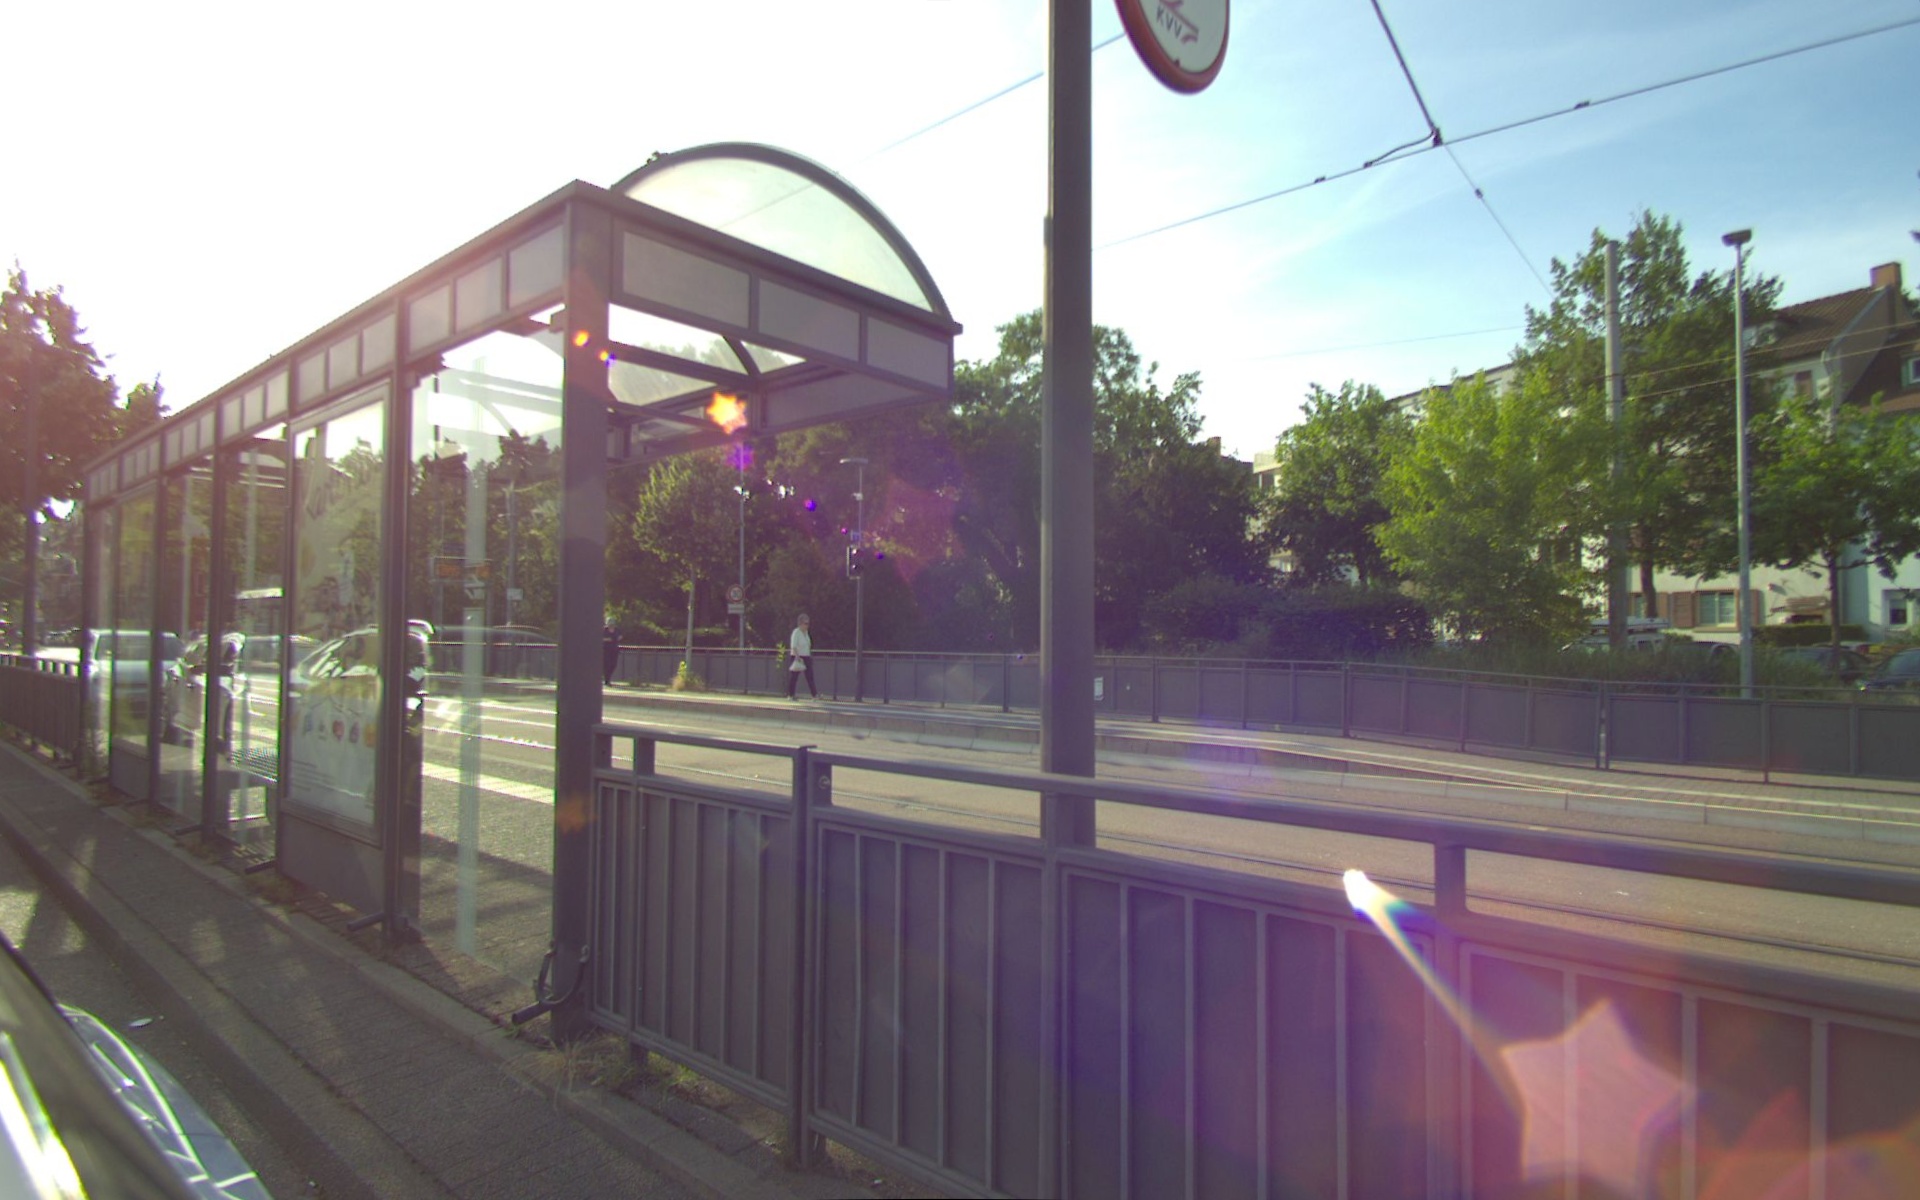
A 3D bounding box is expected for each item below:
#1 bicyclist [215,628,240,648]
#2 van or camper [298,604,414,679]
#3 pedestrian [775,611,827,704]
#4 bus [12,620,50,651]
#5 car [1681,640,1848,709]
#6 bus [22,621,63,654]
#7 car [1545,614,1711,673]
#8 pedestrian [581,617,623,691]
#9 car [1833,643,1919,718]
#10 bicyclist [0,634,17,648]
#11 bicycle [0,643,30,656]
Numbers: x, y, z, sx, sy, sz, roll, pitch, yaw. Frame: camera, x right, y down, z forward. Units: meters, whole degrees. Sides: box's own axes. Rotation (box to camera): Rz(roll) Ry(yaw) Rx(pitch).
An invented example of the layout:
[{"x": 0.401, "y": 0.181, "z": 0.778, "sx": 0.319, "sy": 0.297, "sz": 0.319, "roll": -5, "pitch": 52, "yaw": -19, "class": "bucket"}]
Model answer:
[{"x": -57.099, "y": 2.964, "z": 78.880, "sx": 0.887, "sy": 1.559, "sz": 1.384, "roll": -2, "pitch": -3, "yaw": 39, "class": "bicyclist"}, {"x": -26.257, "y": 1.711, "z": 43.897, "sx": 6.408, "sy": 2.990, "sz": 2.494, "roll": -1, "pitch": 0, "yaw": 41, "class": "van or camper"}, {"x": -2.967, "y": 1.072, "z": 18.881, "sx": 0.618, "sy": 1.697, "sz": 0.613, "roll": -2, "pitch": -6, "yaw": 41, "class": "pedestrian"}, {"x": -109.659, "y": 4.178, "z": 119.407, "sx": 9.258, "sy": 3.461, "sz": 2.405, "roll": -1, "pitch": 0, "yaw": 41, "class": "bus"}, {"x": 18.184, "y": 1.621, "z": 22.835, "sx": 3.935, "sy": 1.409, "sz": 2.004, "roll": 2, "pitch": -3, "yaw": -37, "class": "car"}, {"x": -102.707, "y": 4.095, "z": 113.251, "sx": 9.258, "sy": 3.461, "sz": 2.405, "roll": -1, "pitch": 0, "yaw": 41, "class": "bus"}, {"x": 18.096, "y": 1.193, "z": 27.432, "sx": 3.930, "sy": 1.497, "sz": 1.854, "roll": 1, "pitch": -3, "yaw": -22, "class": "car"}, {"x": -8.491, "y": 1.284, "z": 24.031, "sx": 0.618, "sy": 1.697, "sz": 0.613, "roll": -2, "pitch": -6, "yaw": 41, "class": "pedestrian"}, {"x": 19.636, "y": 1.599, "z": 20.608, "sx": 3.935, "sy": 1.409, "sz": 2.004, "roll": 2, "pitch": -3, "yaw": -37, "class": "car"}, {"x": -65.978, "y": 2.850, "z": 70.089, "sx": 0.884, "sy": 0.920, "sz": 0.617, "roll": 3, "pitch": -3, "yaw": -45, "class": "bicyclist"}, {"x": -66.099, "y": 3.426, "z": 70.025, "sx": 2.501, "sy": 0.888, "sz": 0.631, "roll": 3, "pitch": -3, "yaw": -44, "class": "bicycle"}]
